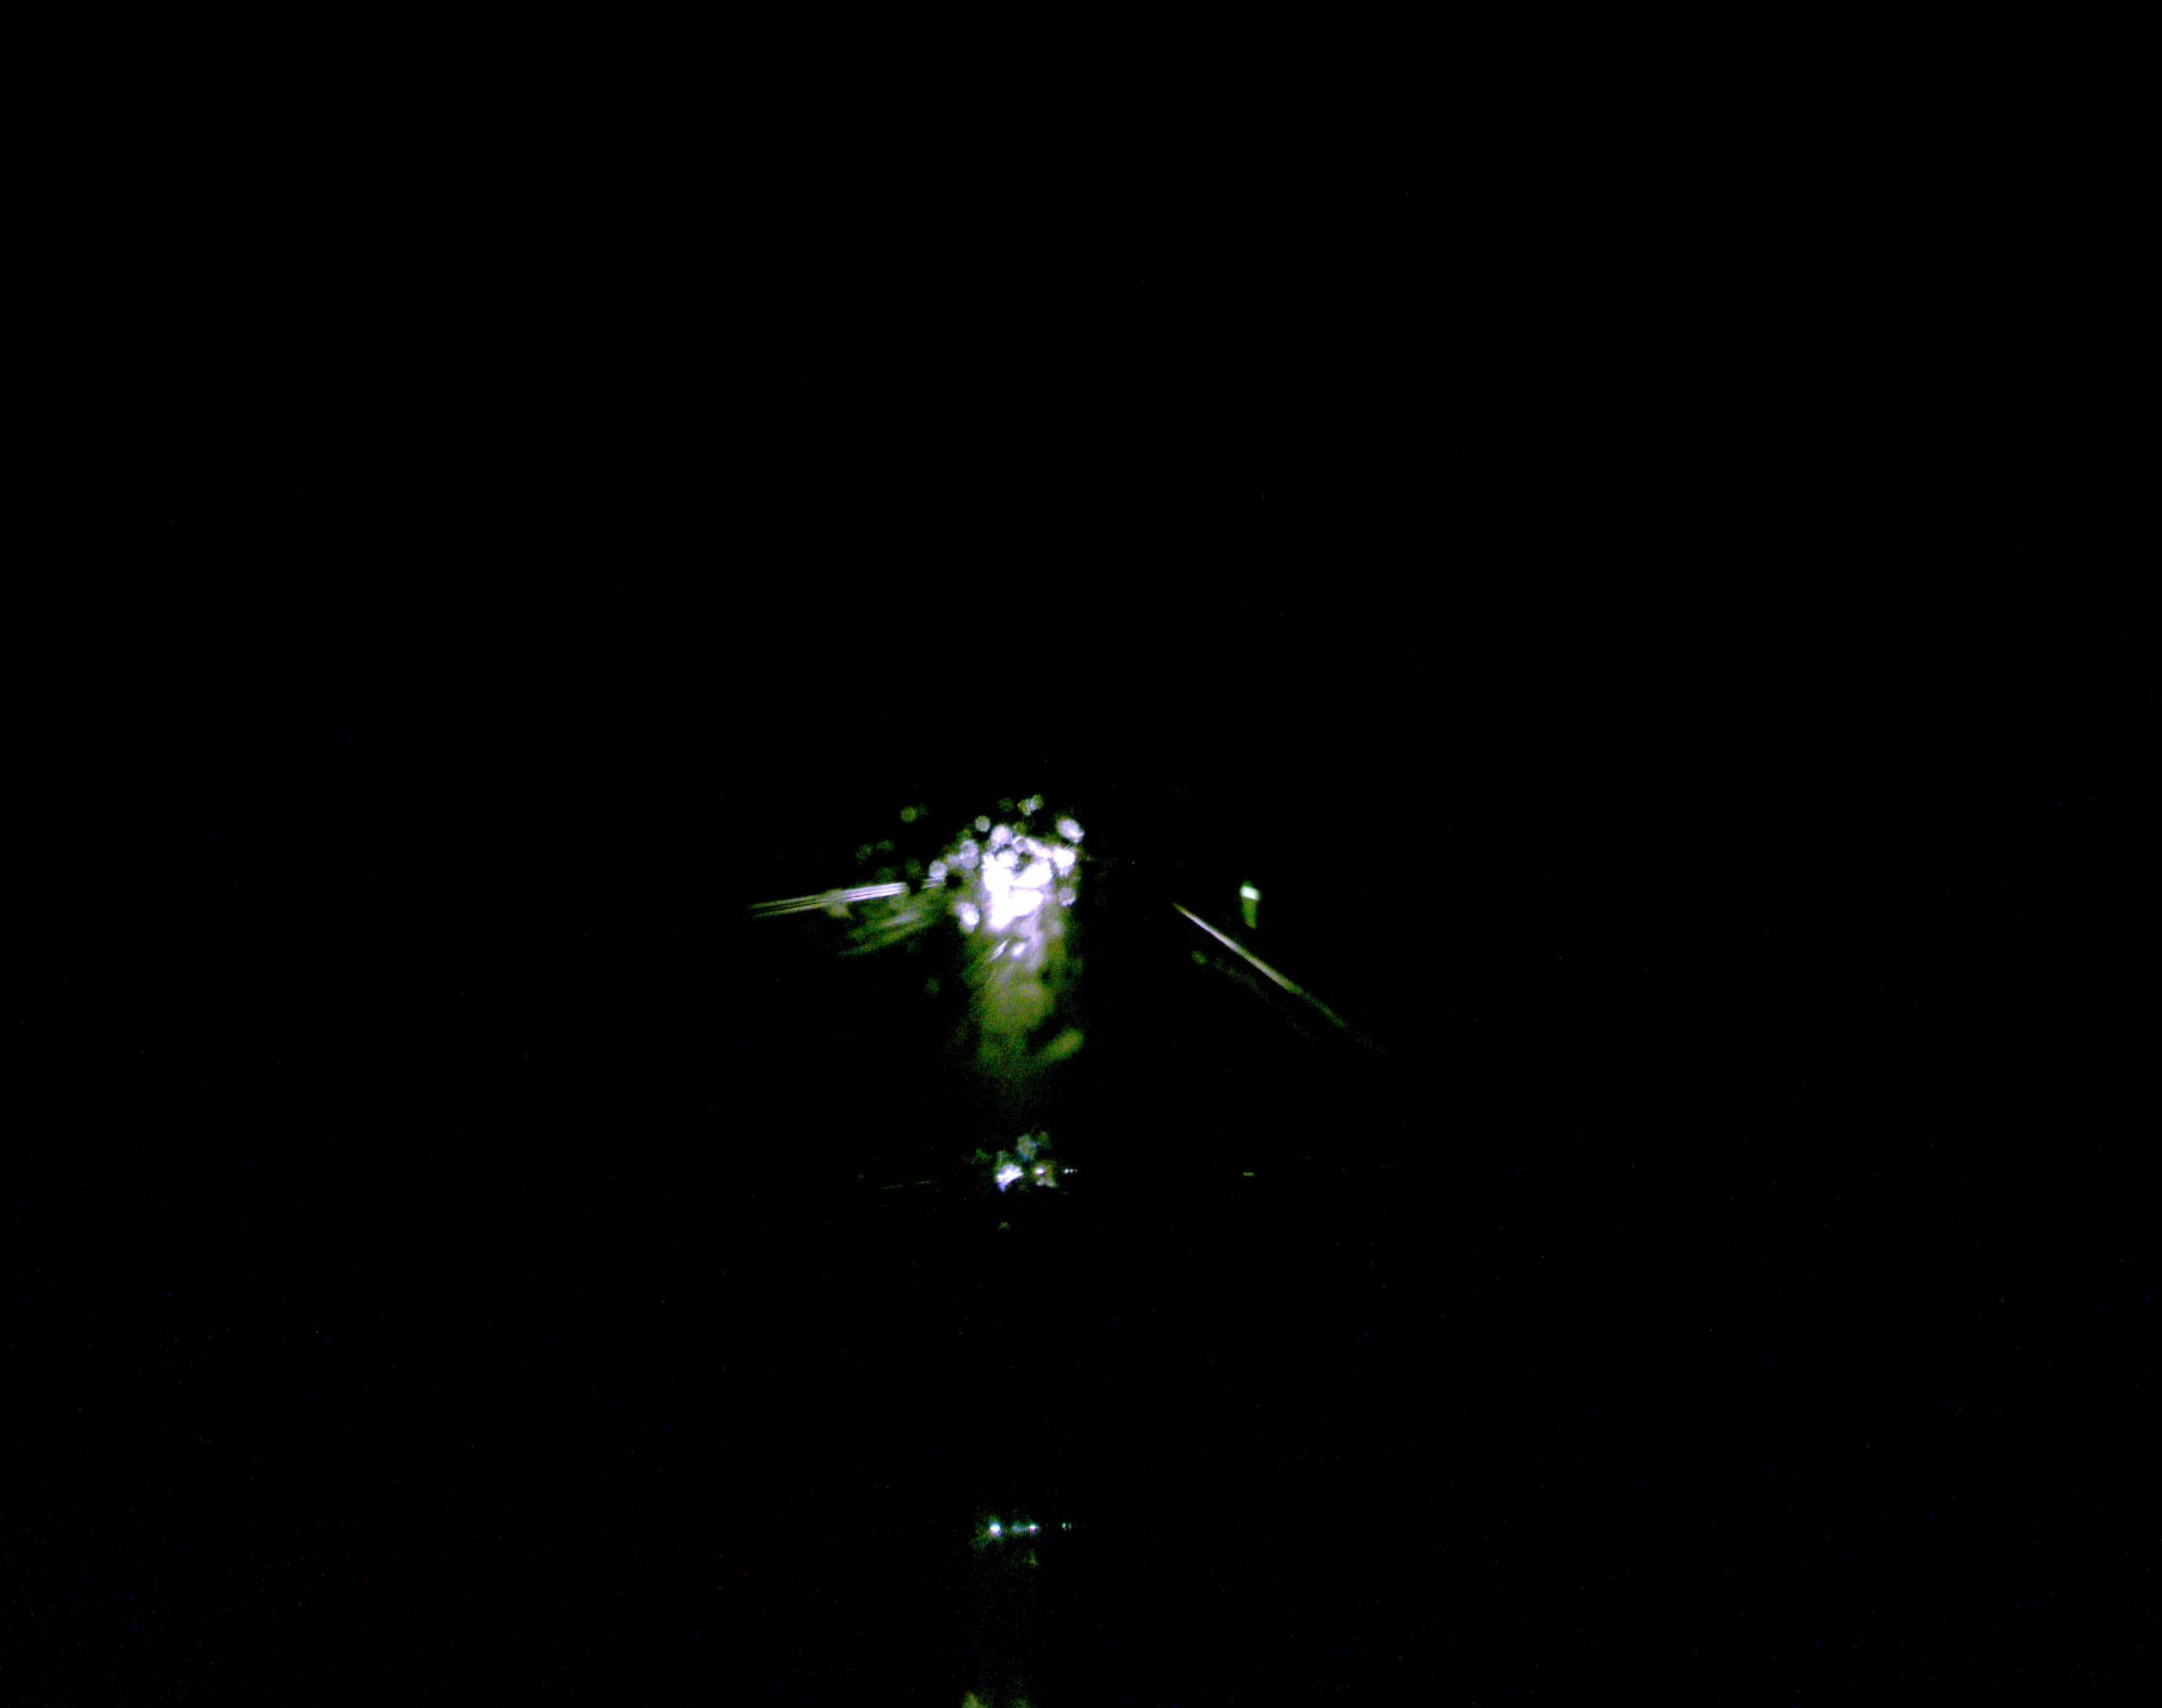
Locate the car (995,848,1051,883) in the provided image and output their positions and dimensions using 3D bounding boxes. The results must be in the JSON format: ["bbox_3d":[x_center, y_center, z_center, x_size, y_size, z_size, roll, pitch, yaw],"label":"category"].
[{"bbox_3d":[-2.484,0.461,35.912,1.986,1.448,4.431,0,0,1],"label":"car"}]
